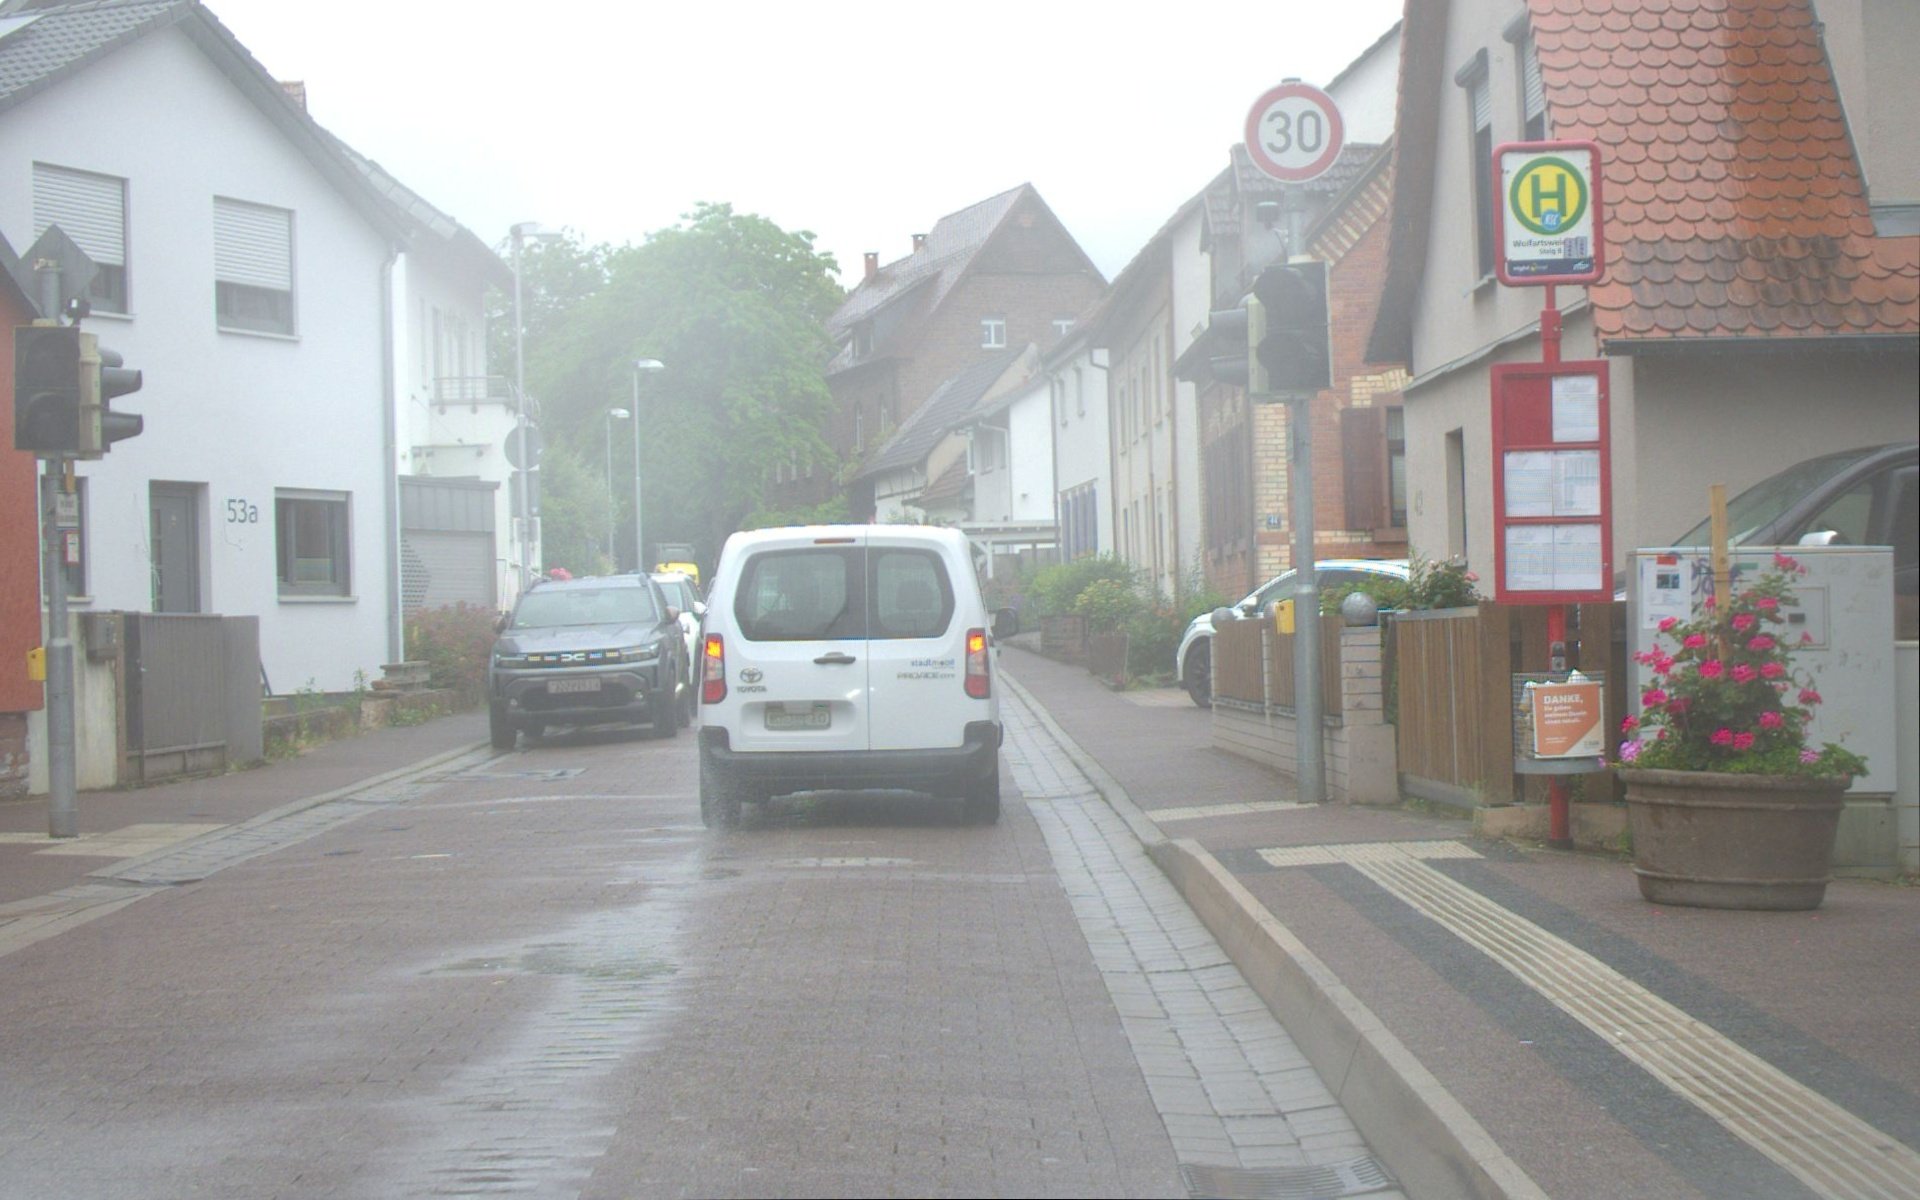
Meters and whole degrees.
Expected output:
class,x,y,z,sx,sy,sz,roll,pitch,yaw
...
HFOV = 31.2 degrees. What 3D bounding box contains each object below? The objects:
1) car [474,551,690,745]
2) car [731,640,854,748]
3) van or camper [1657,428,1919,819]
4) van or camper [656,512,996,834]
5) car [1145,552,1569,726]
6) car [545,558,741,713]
class,x,y,z,sx,sy,sz,roll,pitch,yaw
car,-3.742,0.424,34.616,1.812,1.773,4.018,-2,1,-2
car,-2.645,1.449,53.616,1.688,1.559,3.934,-2,-1,-5
van or camper,6.404,0.136,17.982,5.068,1.916,1.876,1,0,-3
van or camper,-0.782,0.400,21.691,1.943,1.845,4.000,0,1,0
car,4.047,0.344,35.852,1.871,1.584,4.619,-1,2,-33
car,-3.708,0.416,40.895,1.748,1.631,4.418,-4,0,1
